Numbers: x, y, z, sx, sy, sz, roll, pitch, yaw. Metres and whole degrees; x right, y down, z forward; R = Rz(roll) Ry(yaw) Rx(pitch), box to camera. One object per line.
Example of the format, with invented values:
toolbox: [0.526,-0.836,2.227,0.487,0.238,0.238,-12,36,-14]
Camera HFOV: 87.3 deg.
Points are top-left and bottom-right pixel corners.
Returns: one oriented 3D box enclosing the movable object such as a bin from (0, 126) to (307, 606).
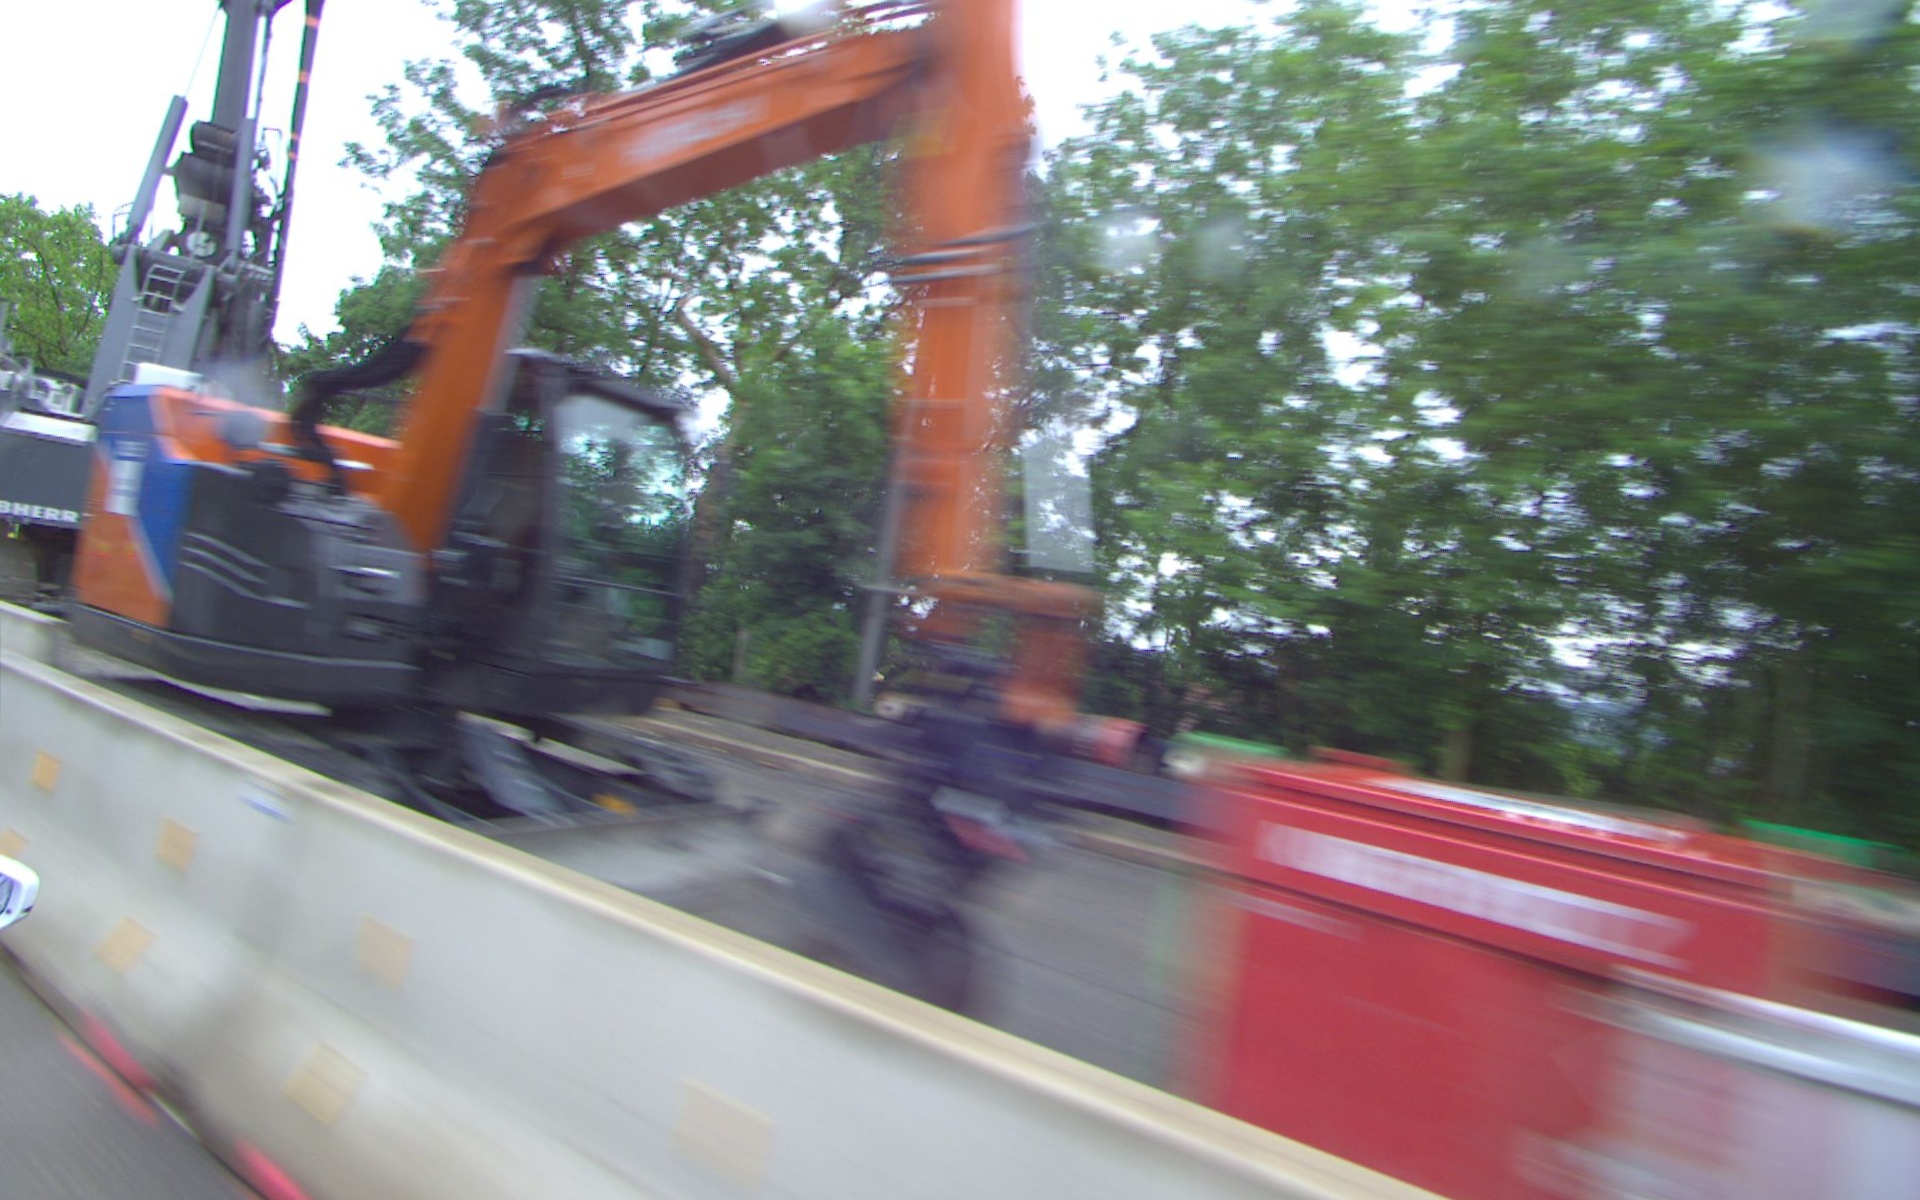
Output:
movable object such as a bin: [-12.345,-2.785,14.706,3.655,5.123,7.113,8,-2,-29]

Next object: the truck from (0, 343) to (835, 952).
truck: [-2.861,0.166,5.461,3.250,2.131,2.556,6,-3,32]
